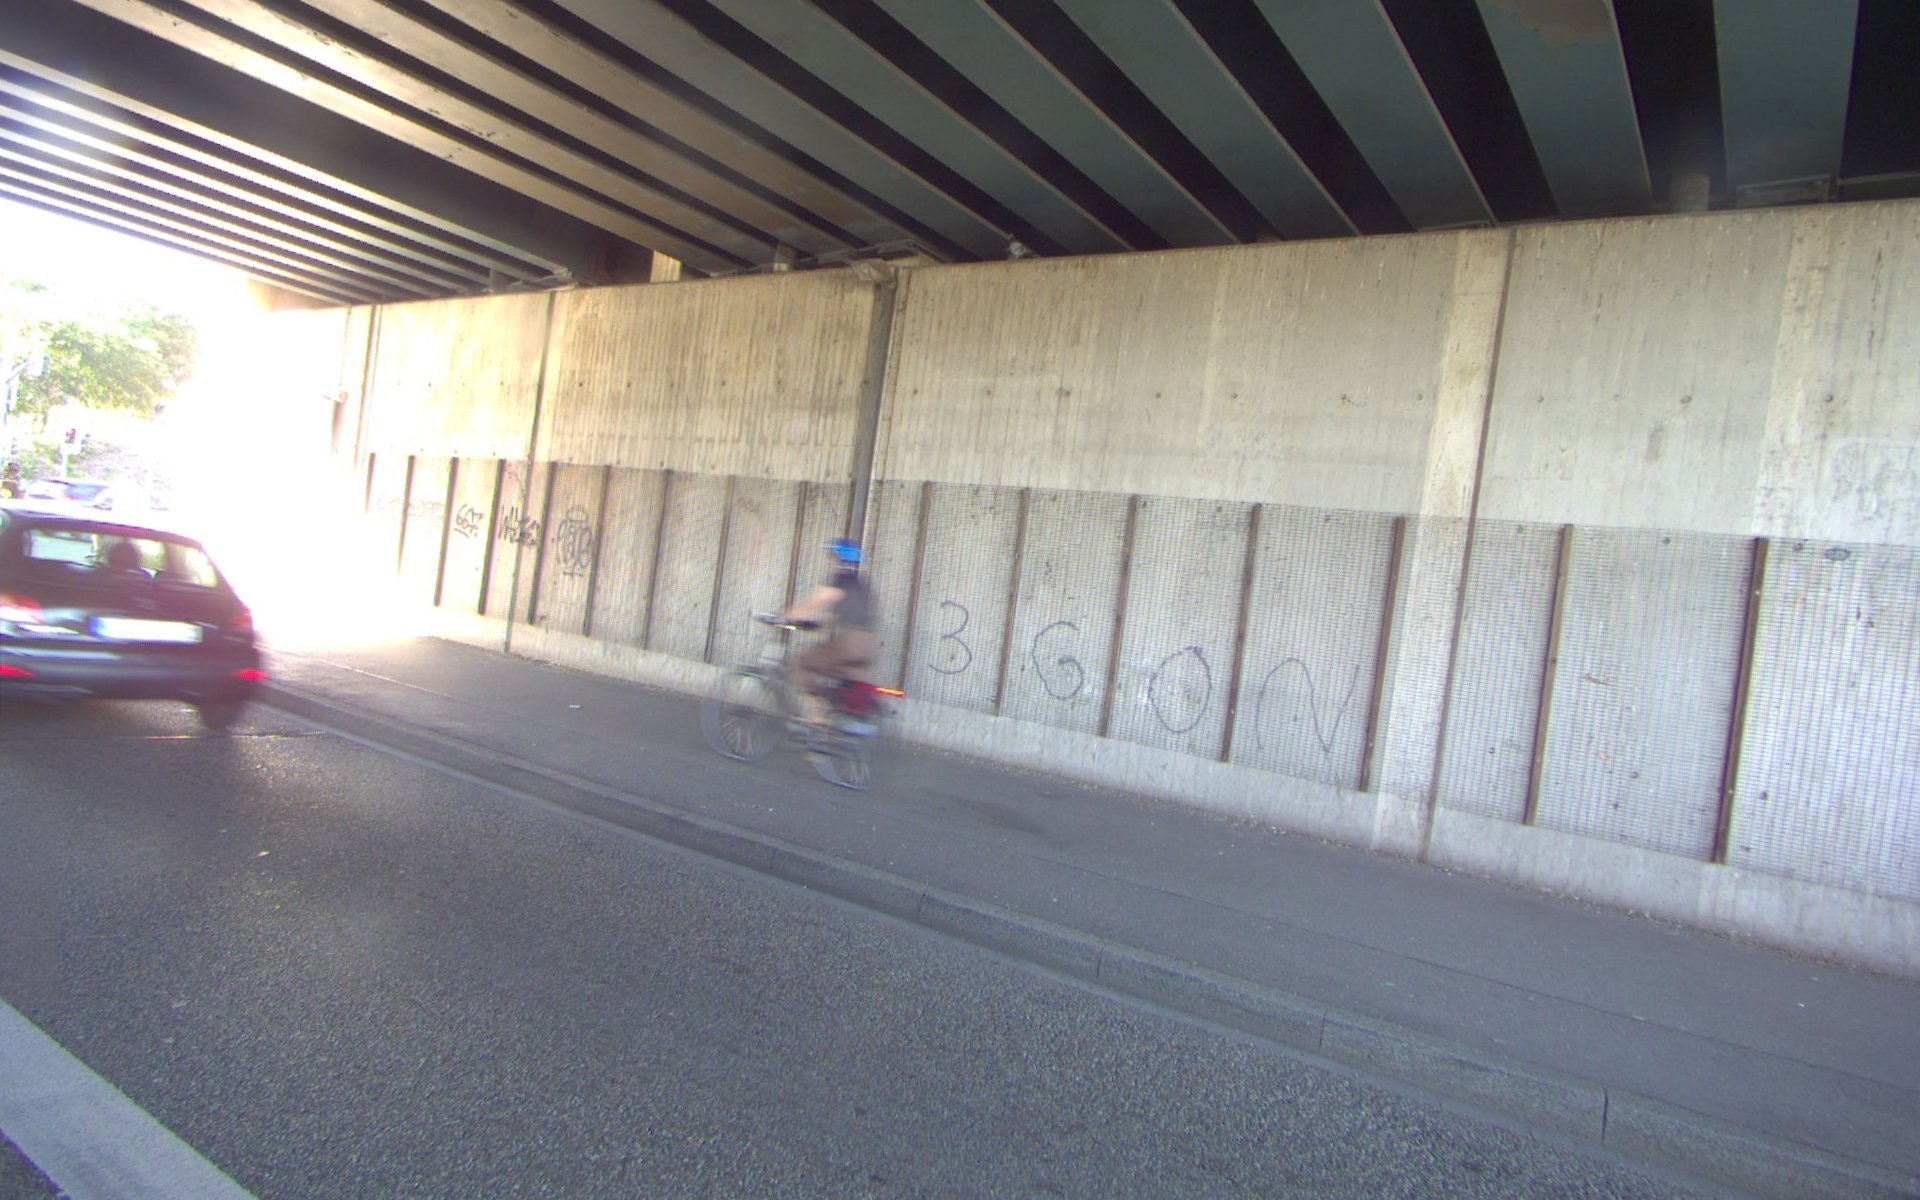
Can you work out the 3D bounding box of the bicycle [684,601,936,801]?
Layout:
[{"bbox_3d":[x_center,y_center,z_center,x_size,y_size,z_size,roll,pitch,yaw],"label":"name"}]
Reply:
[{"bbox_3d":[-1.137,0.693,7.454,1.749,1.182,0.651,6,1,32],"label":"bicycle"}]

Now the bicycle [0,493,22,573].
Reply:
[{"bbox_3d":[-15.316,-1.132,15.351,2.428,1.161,0.766,7,1,31],"label":"bicycle"}]

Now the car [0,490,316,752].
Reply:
[{"bbox_3d":[-6.617,0.002,7.194,3.653,1.473,1.750,7,-1,29],"label":"car"}]

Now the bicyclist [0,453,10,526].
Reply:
[{"bbox_3d":[-15.189,-1.470,15.273,0.871,1.674,0.748,7,-1,31],"label":"bicyclist"}]

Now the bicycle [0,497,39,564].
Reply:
[{"bbox_3d":[-16.212,-1.205,17.050,1.508,1.036,0.676,6,-2,43],"label":"bicycle"}]

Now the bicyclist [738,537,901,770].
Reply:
[{"bbox_3d":[-1.028,0.370,7.386,0.833,1.554,0.653,7,3,31],"label":"bicyclist"}]

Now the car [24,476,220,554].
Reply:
[{"bbox_3d":[-25.142,-2.503,30.384,1.777,1.642,4.107,8,0,20],"label":"car"}]

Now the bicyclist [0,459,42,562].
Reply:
[{"bbox_3d":[-16.136,-1.522,17.014,0.635,1.647,0.676,6,-2,42],"label":"bicyclist"}]

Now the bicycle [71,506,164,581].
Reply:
[{"bbox_3d":[-14.618,-0.987,17.445,1.577,1.126,0.682,6,0,31],"label":"bicycle"}]

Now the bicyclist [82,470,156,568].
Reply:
[{"bbox_3d":[-14.582,-1.397,17.450,0.723,1.581,0.671,7,0,31],"label":"bicyclist"}]
